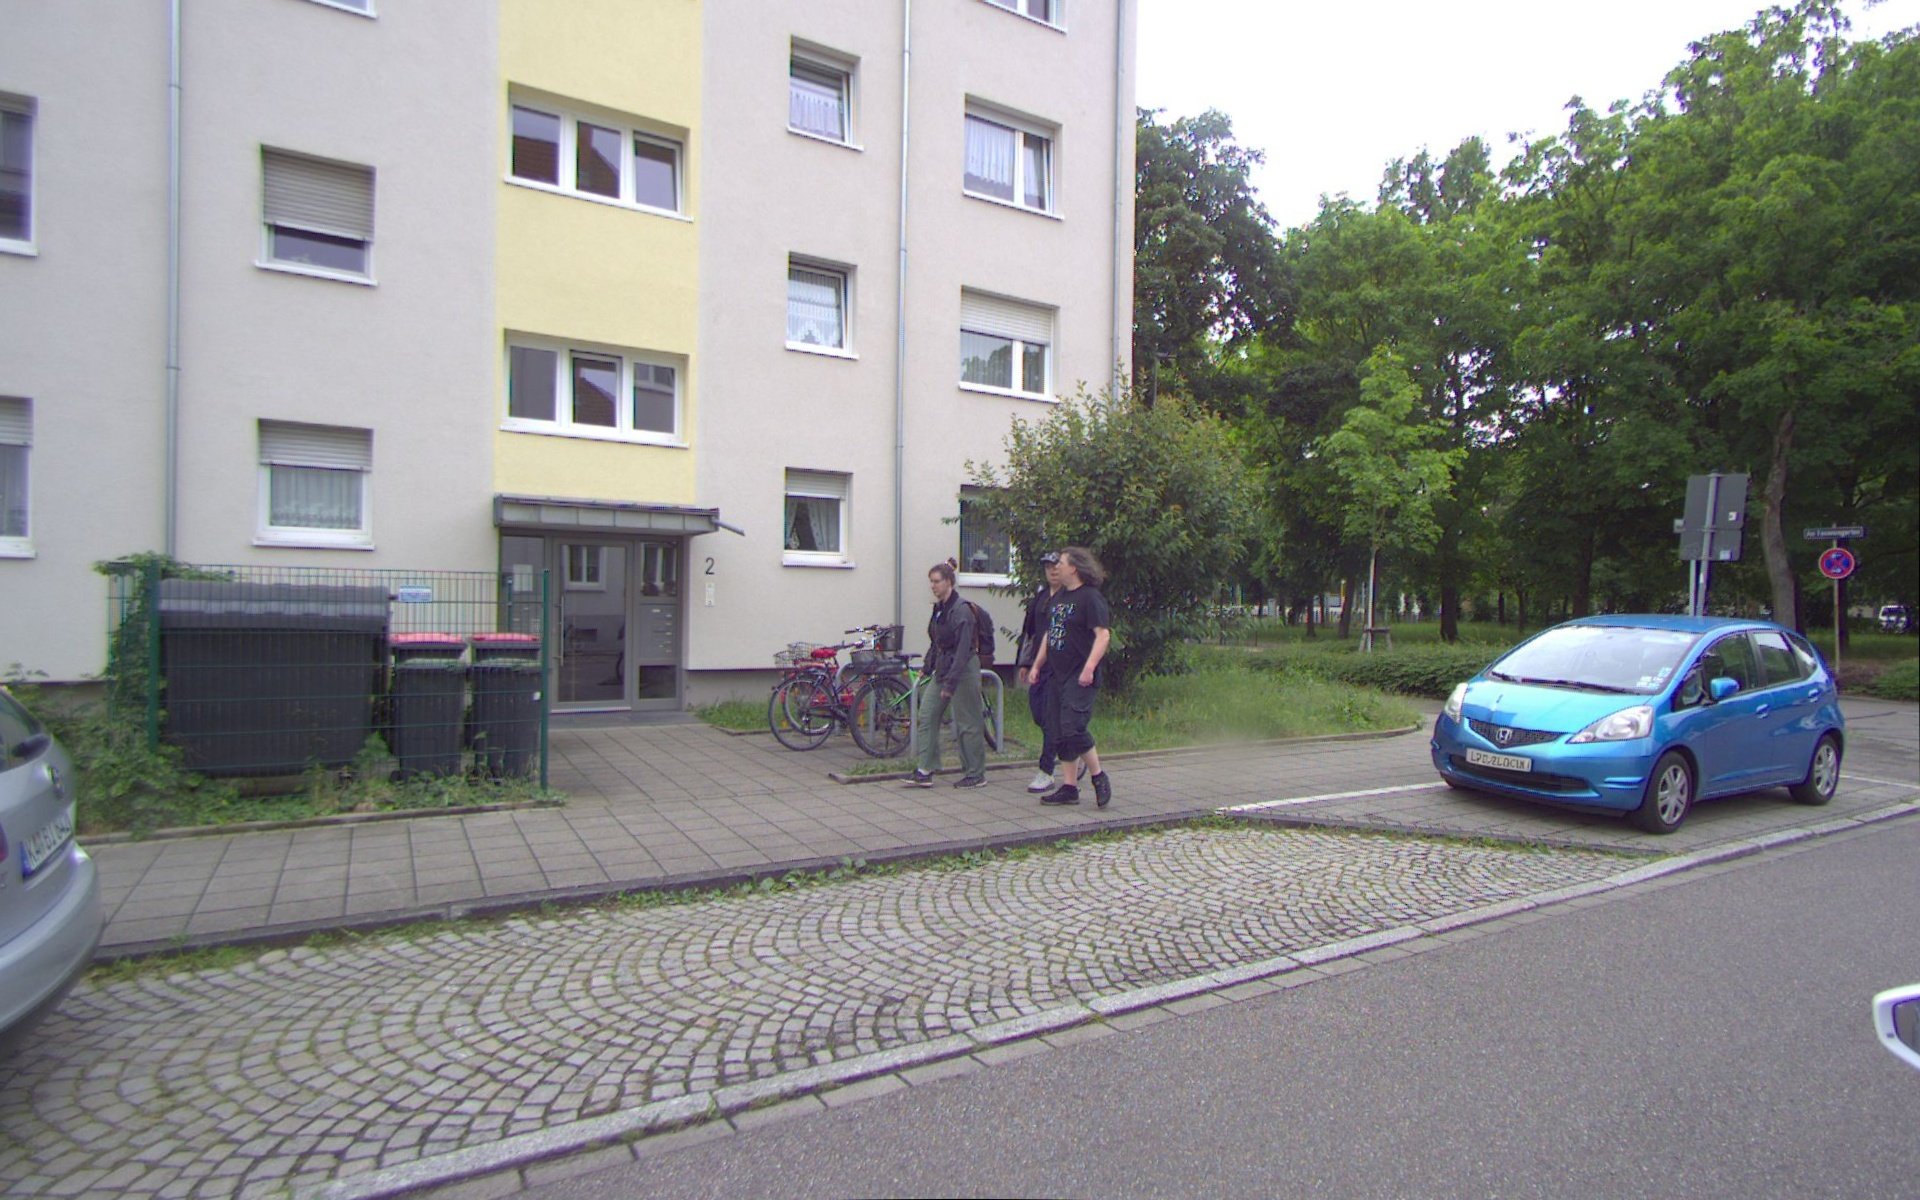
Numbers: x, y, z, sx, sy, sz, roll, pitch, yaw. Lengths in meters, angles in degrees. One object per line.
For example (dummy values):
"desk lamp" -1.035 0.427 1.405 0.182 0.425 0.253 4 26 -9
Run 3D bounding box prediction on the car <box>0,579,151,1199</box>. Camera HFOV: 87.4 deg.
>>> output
"car" -4.391 0.718 2.184 3.869 1.571 1.646 1 2 -30

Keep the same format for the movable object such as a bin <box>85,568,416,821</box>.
"movable object such as a bin" -4.664 0.538 6.813 1.652 1.440 1.581 0 0 -31

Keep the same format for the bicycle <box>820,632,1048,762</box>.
"bicycle" -0.221 0.863 9.460 2.096 1.082 0.654 0 0 -30

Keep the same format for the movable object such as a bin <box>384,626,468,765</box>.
"movable object such as a bin" -4.718 0.808 8.864 0.591 1.131 0.837 0 0 -32

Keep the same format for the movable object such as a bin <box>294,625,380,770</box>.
"movable object such as a bin" -5.269 0.786 8.507 0.591 1.131 0.837 0 0 -32

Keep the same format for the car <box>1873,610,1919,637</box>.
"car" 57.932 1.433 61.650 3.958 1.639 1.906 1 0 -34

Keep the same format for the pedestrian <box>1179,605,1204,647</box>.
"pedestrian" 9.103 1.011 39.539 0.648 1.604 0.693 0 0 -28

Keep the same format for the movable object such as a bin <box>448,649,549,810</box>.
"movable object such as a bin" -3.267 0.886 7.104 0.591 1.047 0.534 0 0 -32

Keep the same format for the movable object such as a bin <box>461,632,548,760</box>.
"movable object such as a bin" -4.165 0.841 9.164 0.627 1.065 0.859 0 0 -31

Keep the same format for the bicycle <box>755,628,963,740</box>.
"bicycle" -1.059 0.857 10.795 2.149 1.085 0.654 0 0 -30

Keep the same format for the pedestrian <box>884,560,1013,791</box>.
"pedestrian" -0.093 0.555 7.785 0.794 1.679 0.611 1 0 -31

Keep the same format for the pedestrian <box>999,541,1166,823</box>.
"pedestrian" 0.879 0.544 7.229 0.963 1.889 0.637 1 2 -31

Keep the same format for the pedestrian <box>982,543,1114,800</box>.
"pedestrian" 0.683 0.528 7.862 0.754 1.879 0.703 1 0 -30

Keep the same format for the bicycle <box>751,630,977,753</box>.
"bicycle" -0.922 0.852 9.928 2.149 1.085 0.654 0 0 -30

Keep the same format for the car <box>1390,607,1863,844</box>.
"car" 5.601 0.860 8.358 3.911 1.482 1.721 1 2 -31
